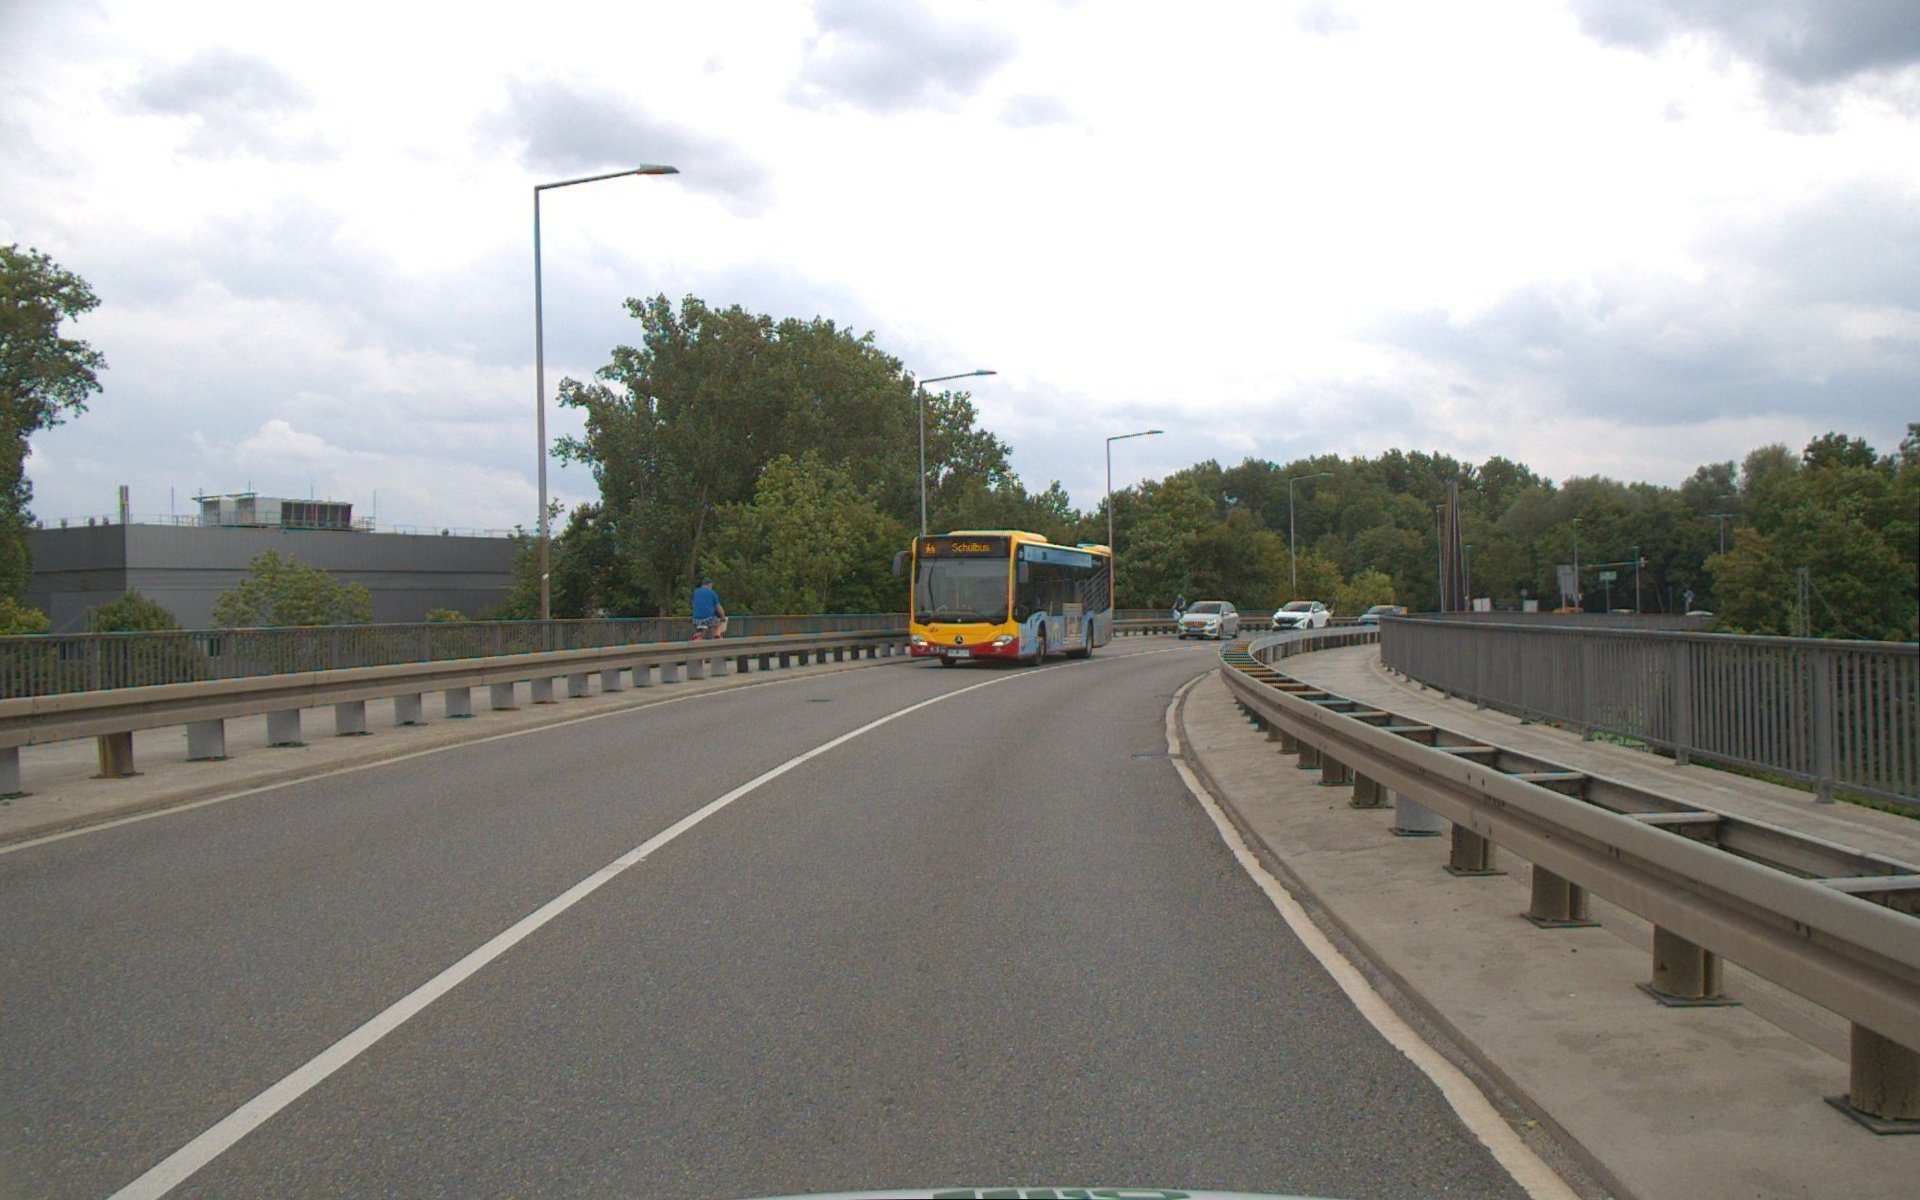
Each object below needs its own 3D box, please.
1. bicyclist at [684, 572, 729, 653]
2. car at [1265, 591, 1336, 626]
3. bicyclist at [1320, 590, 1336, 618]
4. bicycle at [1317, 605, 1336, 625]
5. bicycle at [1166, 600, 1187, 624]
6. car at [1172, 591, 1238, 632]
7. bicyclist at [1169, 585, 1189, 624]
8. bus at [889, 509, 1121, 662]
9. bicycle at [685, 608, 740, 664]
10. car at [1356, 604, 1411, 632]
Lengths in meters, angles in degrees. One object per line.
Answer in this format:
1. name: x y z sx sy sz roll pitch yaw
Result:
1. bicyclist: -4.973 0.237 32.468 0.597 1.567 0.757 1 0 16
2. car: 16.557 0.421 80.171 1.905 1.621 4.763 1 0 31
3. bicyclist: 21.627 0.229 97.114 0.757 1.660 0.648 1 -1 29
4. bicycle: 21.523 0.881 97.085 0.622 1.194 1.904 1 0 26
5. bicycle: 10.330 0.570 78.929 0.632 1.086 1.762 1 0 18
6. car: 10.160 0.470 68.367 1.780 1.648 4.398 1 0 20
7. bicyclist: 10.452 0.193 78.907 0.831 1.840 0.797 1 0 18
8. bus: 1.557 -0.315 42.278 2.967 3.290 12.960 1 0 15
9. bicycle: -4.872 0.693 32.669 0.482 1.063 1.811 1 0 11
10. car: 23.256 0.970 90.798 1.775 1.503 4.373 1 0 31
